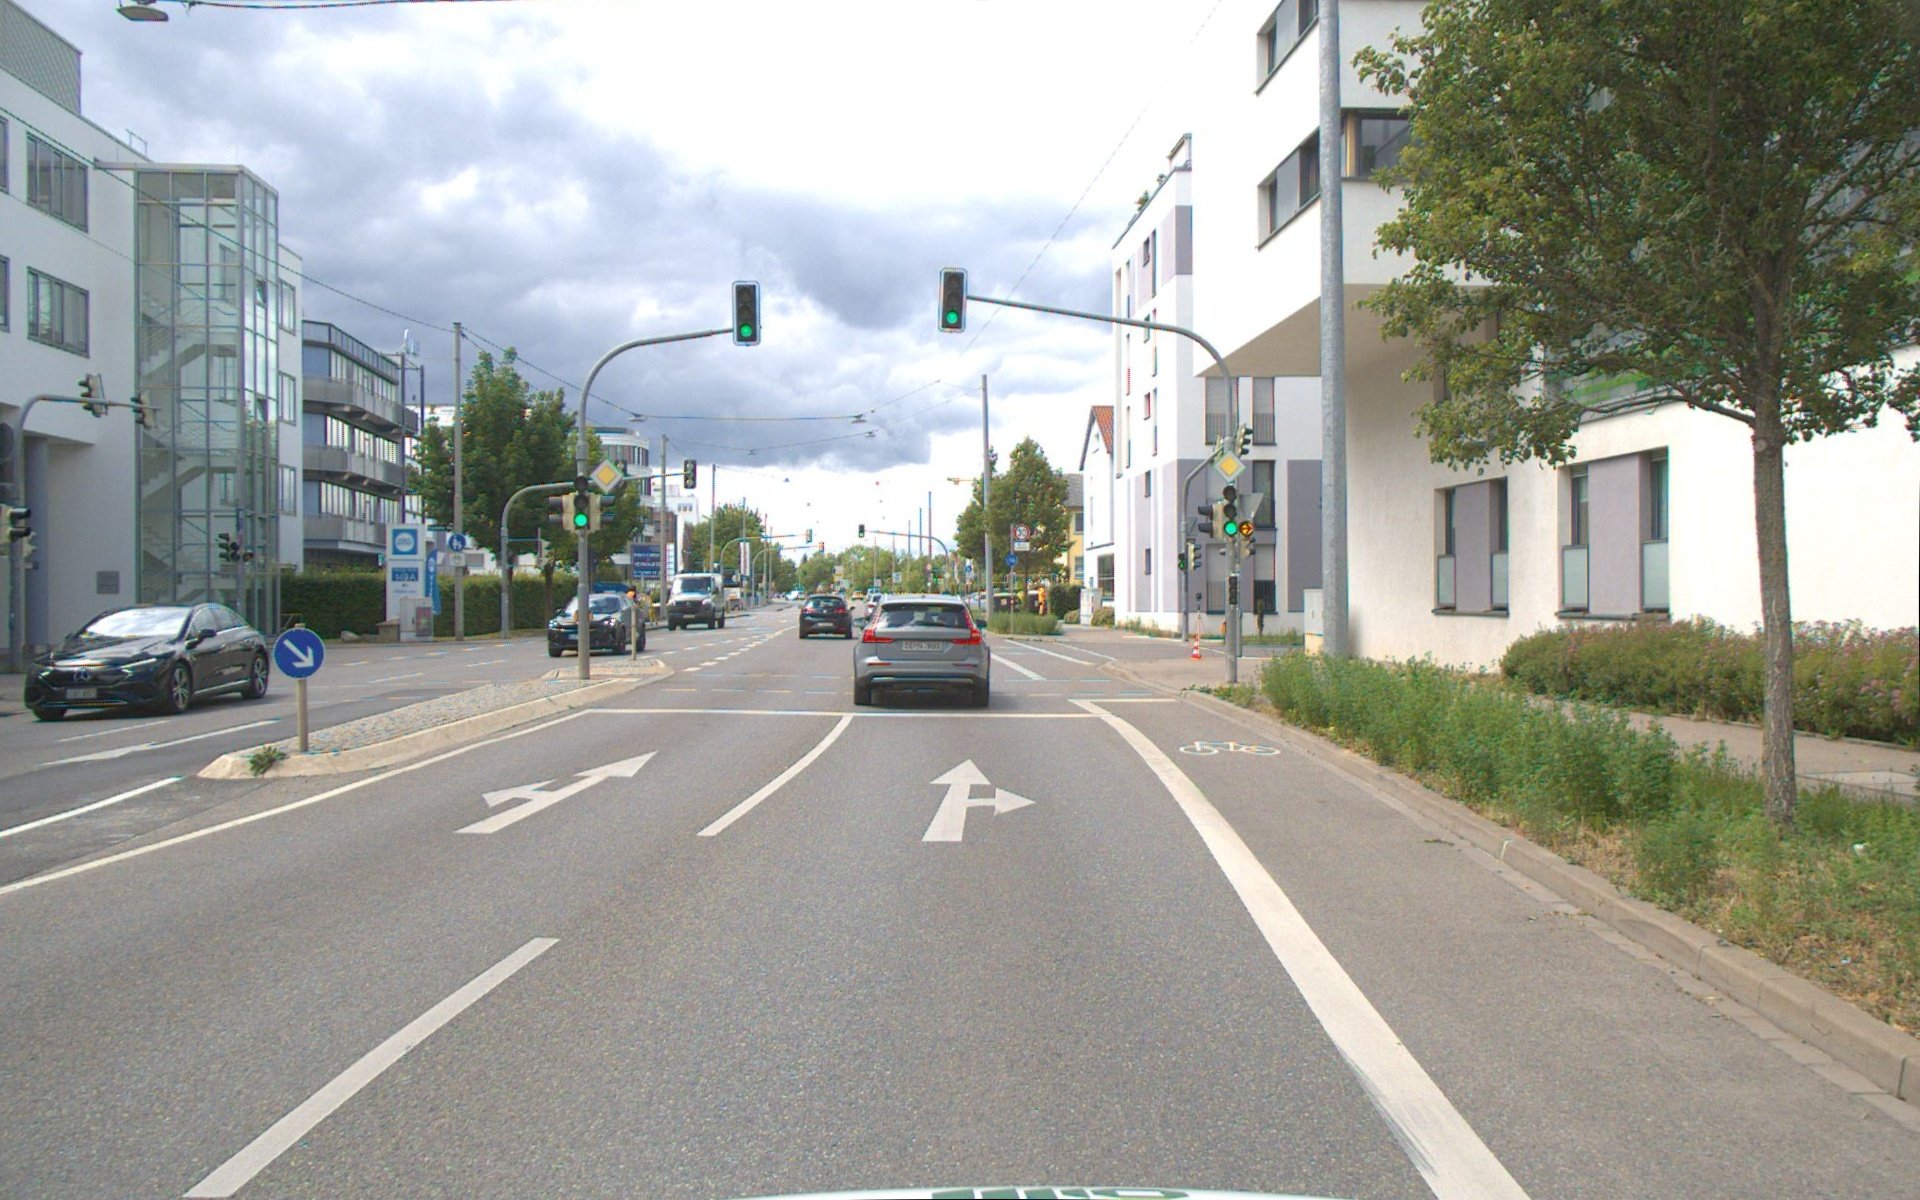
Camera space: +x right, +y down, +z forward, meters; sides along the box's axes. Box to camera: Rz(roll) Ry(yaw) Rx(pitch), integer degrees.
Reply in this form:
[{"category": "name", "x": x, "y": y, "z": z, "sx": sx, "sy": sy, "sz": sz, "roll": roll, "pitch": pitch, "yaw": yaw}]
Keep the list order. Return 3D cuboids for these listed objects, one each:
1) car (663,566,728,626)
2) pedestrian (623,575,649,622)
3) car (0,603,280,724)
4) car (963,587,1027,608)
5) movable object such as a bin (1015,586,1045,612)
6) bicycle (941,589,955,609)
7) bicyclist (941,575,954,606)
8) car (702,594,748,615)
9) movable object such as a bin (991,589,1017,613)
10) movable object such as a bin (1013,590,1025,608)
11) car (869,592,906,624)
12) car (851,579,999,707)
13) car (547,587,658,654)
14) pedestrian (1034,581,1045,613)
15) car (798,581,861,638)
[{"category": "car", "x": -11.767, "y": -0.161, "z": 73.985, "sx": 2.100, "sy": 2.515, "sz": 6.070, "roll": -2, "pitch": 0, "yaw": -2}, {"category": "pedestrian", "x": -14.508, "y": -0.061, "z": 74.027, "sx": 0.712, "sy": 2.049, "sz": 0.806, "roll": 1, "pitch": -1, "yaw": 39}, {"category": "car", "x": -11.625, "y": 0.828, "z": 23.703, "sx": 1.985, "sy": 1.470, "sz": 5.044, "roll": -2, "pitch": 0, "yaw": -5}, {"category": "car", "x": 2.616, "y": -0.172, "z": 124.219, "sx": 4.603, "sy": 1.519, "sz": 2.044, "roll": 1, "pitch": 1, "yaw": -4}, {"category": "movable object such as a bin", "x": 4.026, "y": -0.031, "z": 95.518, "sx": 1.296, "sy": 1.460, "sz": 1.247, "roll": -1, "pitch": -1, "yaw": 34}, {"category": "bicycle", "x": -0.659, "y": -0.046, "z": 92.733, "sx": 0.625, "sy": 1.081, "sz": 1.976, "roll": -4, "pitch": 0, "yaw": -3}, {"category": "bicyclist", "x": -0.702, "y": -0.517, "z": 92.943, "sx": 0.625, "sy": 1.704, "sz": 0.890, "roll": -4, "pitch": 0, "yaw": -3}, {"category": "car", "x": -21.860, "y": 0.399, "z": 153.839, "sx": 4.021, "sy": 1.421, "sz": 1.903, "roll": -6, "pitch": 2, "yaw": -10}, {"category": "movable object such as a bin", "x": 2.534, "y": 0.056, "z": 95.114, "sx": 1.291, "sy": 1.385, "sz": 1.252, "roll": -1, "pitch": -1, "yaw": 13}, {"category": "movable object such as a bin", "x": 3.414, "y": -0.043, "z": 96.064, "sx": 0.556, "sy": 1.044, "sz": 0.404, "roll": -1, "pitch": -1, "yaw": 34}, {"category": "car", "x": -4.126, "y": 0.476, "z": 93.731, "sx": 1.954, "sy": 1.724, "sz": 3.997, "roll": 2, "pitch": -1, "yaw": -4}, {"category": "car", "x": -0.534, "y": 0.572, "z": 23.225, "sx": 1.858, "sy": 1.581, "sz": 3.998, "roll": 2, "pitch": -1, "yaw": -3}, {"category": "car", "x": -9.052, "y": 0.521, "z": 42.199, "sx": 1.847, "sy": 1.579, "sz": 4.539, "roll": -2, "pitch": -1, "yaw": -1}, {"category": "pedestrian", "x": 4.522, "y": -0.156, "z": 93.634, "sx": 0.496, "sy": 1.796, "sz": 0.501, "roll": 1, "pitch": -1, "yaw": 13}, {"category": "car", "x": -4.360, "y": 0.324, "z": 55.062, "sx": 1.955, "sy": 1.747, "sz": 3.995, "roll": 2, "pitch": -1, "yaw": -5}]
